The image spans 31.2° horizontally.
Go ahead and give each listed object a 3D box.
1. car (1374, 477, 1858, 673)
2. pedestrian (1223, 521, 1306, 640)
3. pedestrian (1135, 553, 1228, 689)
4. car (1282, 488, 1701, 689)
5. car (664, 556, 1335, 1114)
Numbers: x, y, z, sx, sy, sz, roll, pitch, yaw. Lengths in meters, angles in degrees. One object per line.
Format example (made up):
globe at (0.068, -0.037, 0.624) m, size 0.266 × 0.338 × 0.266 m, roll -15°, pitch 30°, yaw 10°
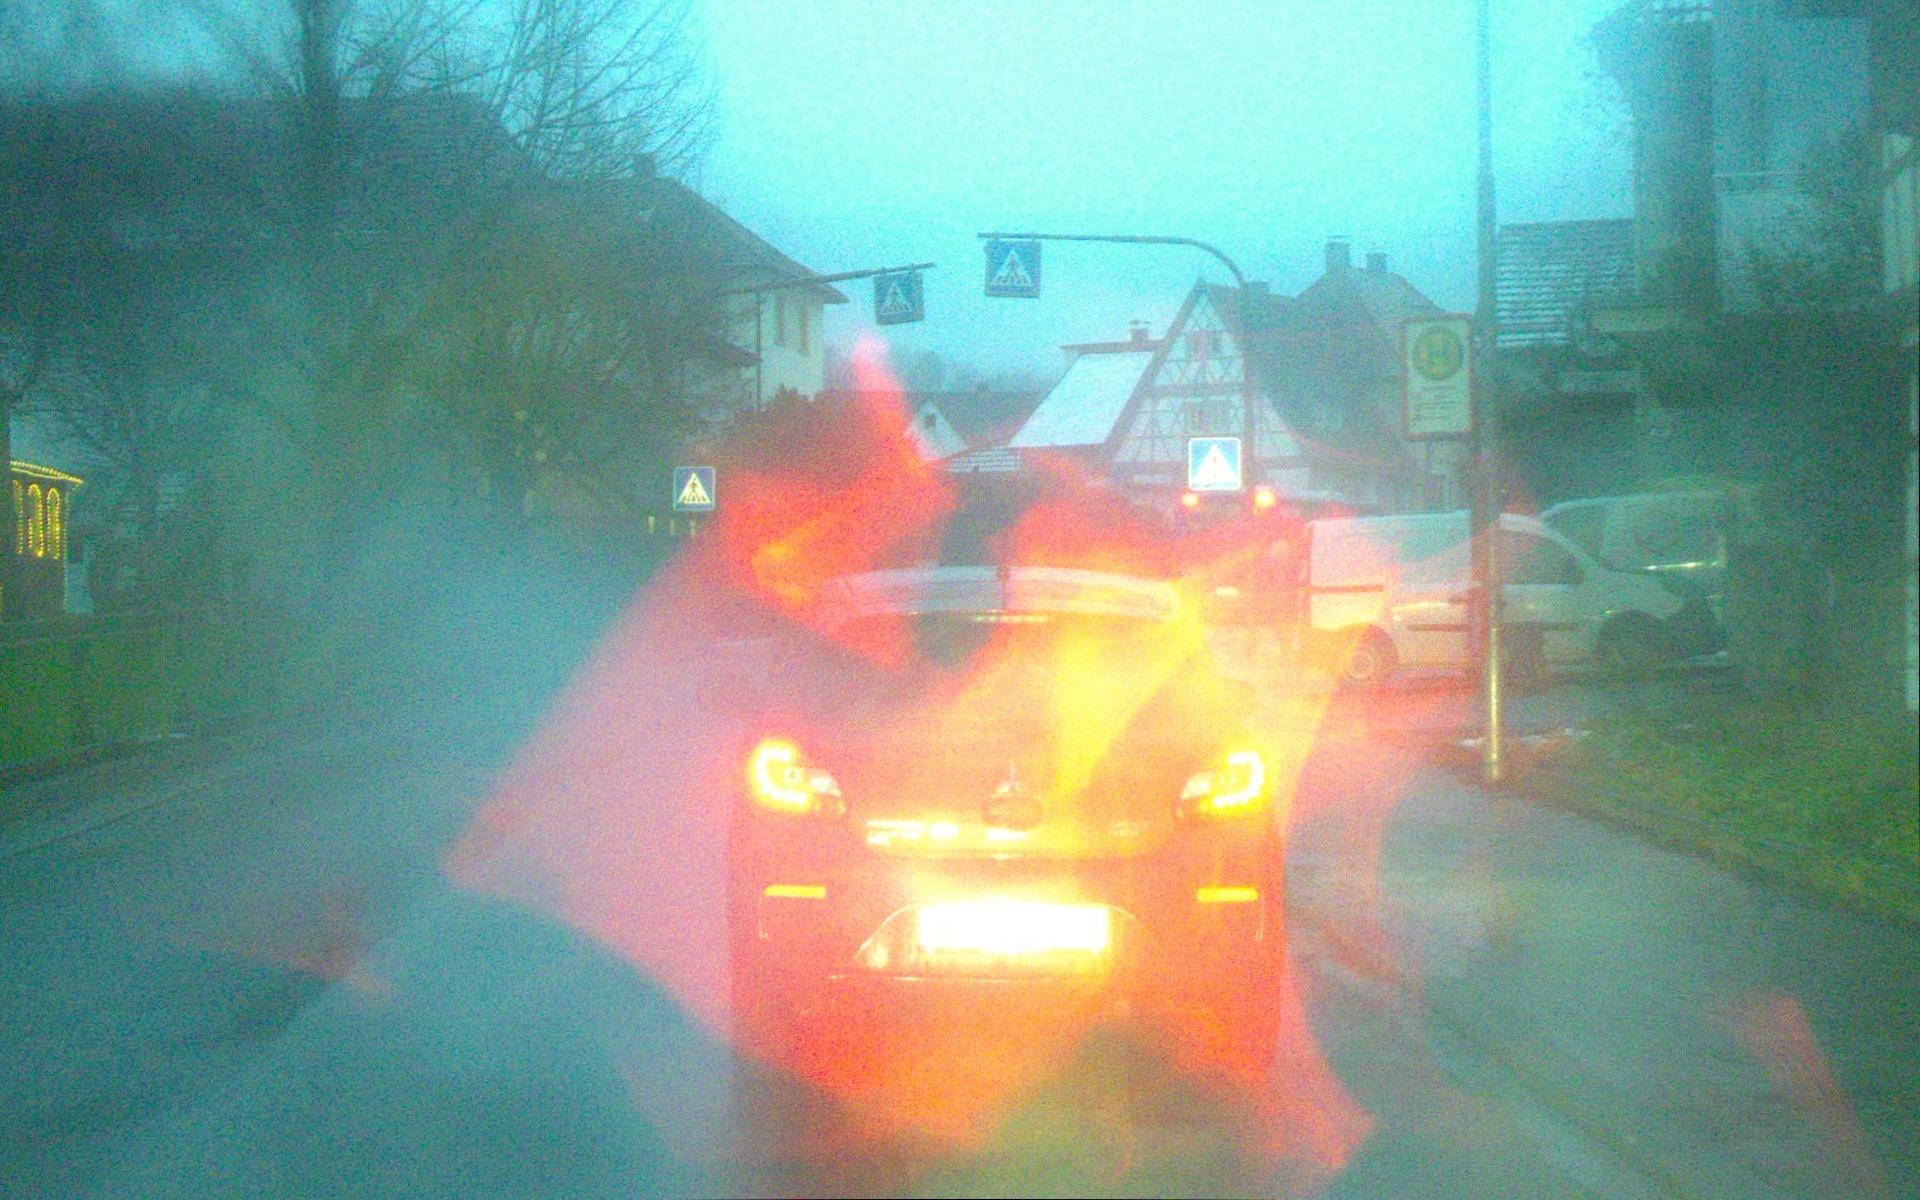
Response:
car at (7.136, -0.274, 37.467) m, size 4.983 × 1.882 × 1.936 m, roll -2°, pitch 1°, yaw 13°
pedestrian at (4.414, -0.282, 49.778) m, size 0.868 × 1.661 × 0.991 m, roll -3°, pitch 0°, yaw 21°
pedestrian at (2.934, 0.272, 45.504) m, size 0.880 × 1.729 × 0.954 m, roll -3°, pitch 0°, yaw 21°
car at (5.390, -0.115, 35.072) m, size 4.043 × 1.837 × 1.863 m, roll -2°, pitch 0°, yaw 8°
car at (0.107, 0.610, 11.283) m, size 1.795 × 1.471 × 4.000 m, roll 1°, pitch 1°, yaw 0°
